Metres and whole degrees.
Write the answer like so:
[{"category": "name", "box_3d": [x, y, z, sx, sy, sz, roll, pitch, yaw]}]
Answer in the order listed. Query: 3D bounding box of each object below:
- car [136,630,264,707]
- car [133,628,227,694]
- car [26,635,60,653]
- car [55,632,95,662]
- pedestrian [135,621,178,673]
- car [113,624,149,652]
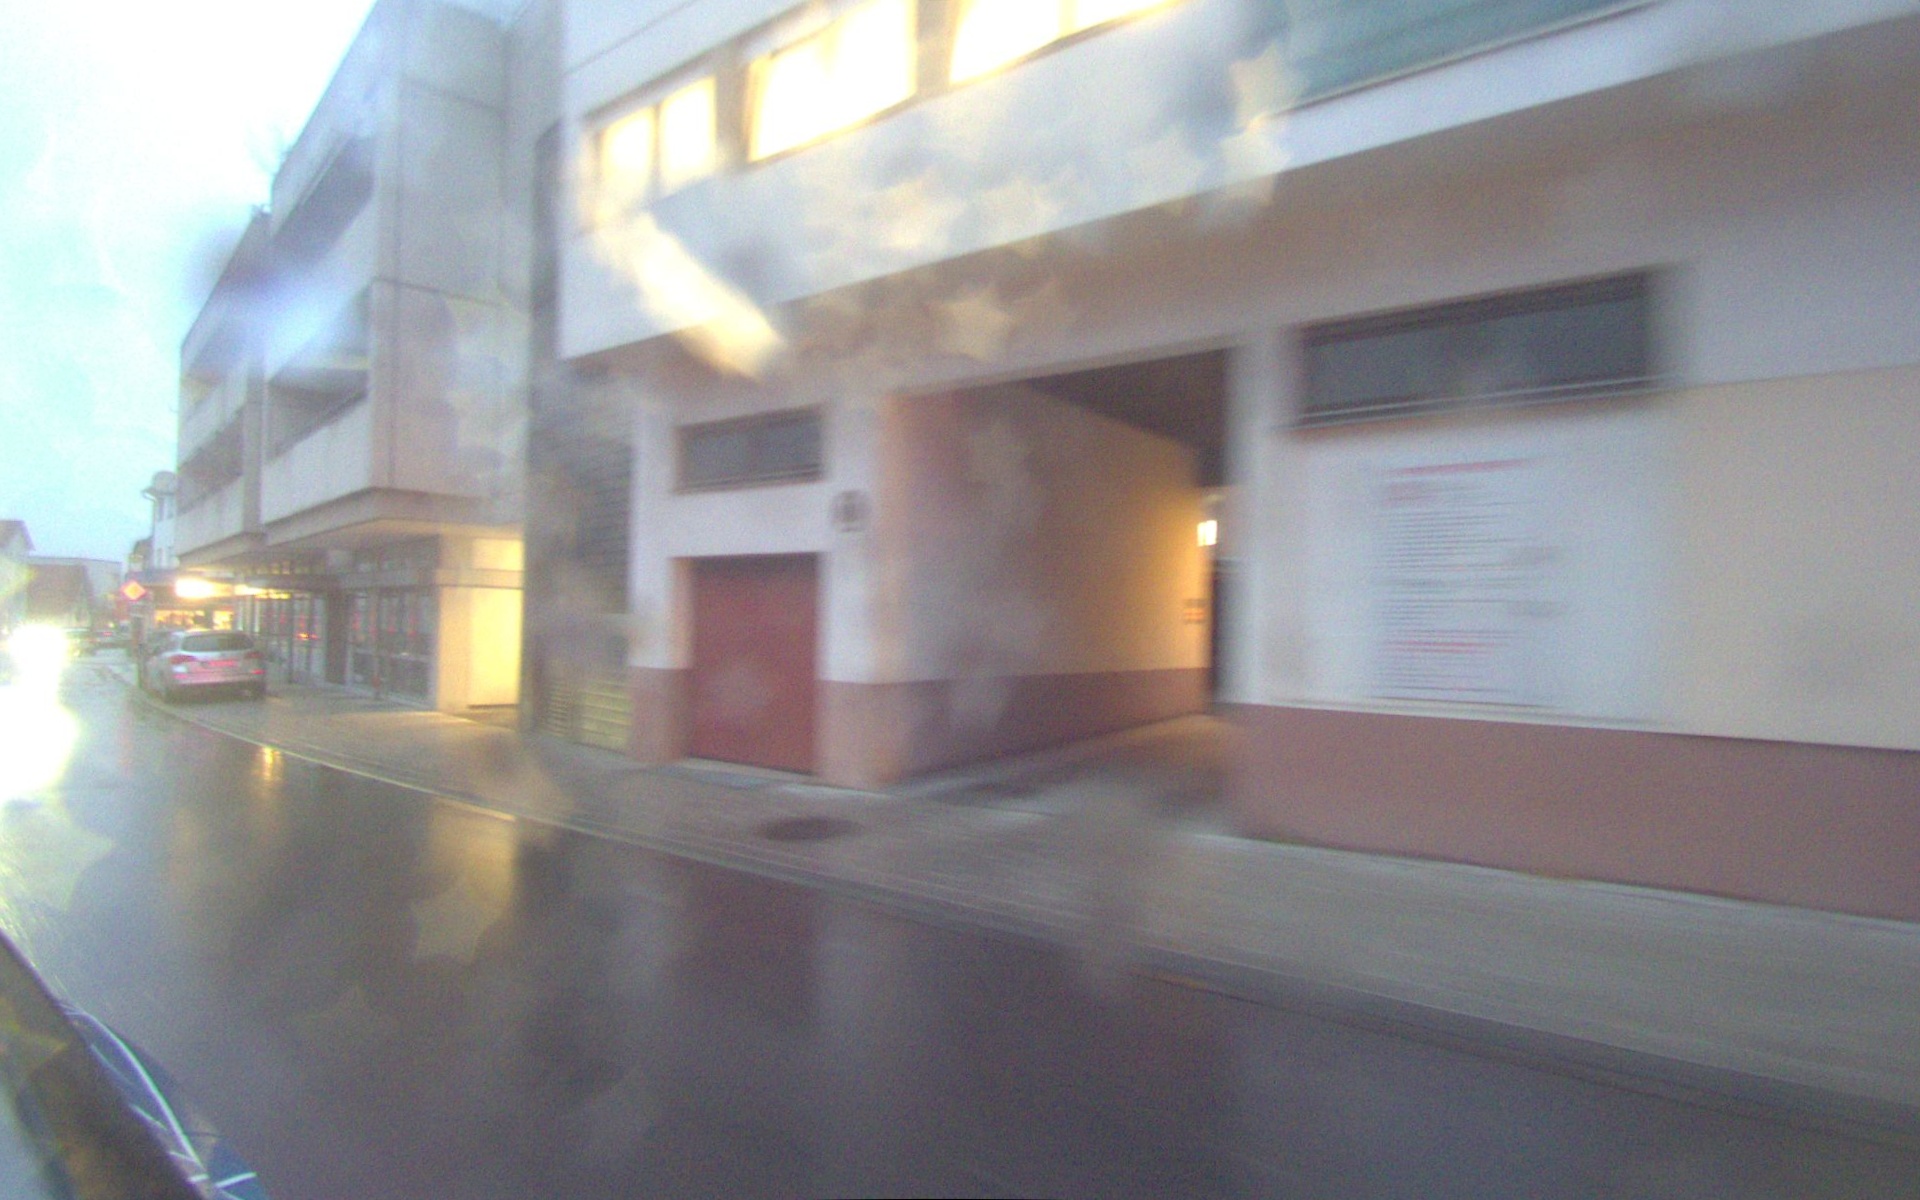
[{"category": "car", "box_3d": [-16.689, 1.422, 22.141, 1.656, 1.457, 4.431, -2, 0, -44]}, {"category": "car", "box_3d": [-20.251, 1.509, 26.229, 1.596, 1.544, 3.932, 0, -1, -43]}, {"category": "car", "box_3d": [-85.210, 4.087, 94.101, 1.770, 1.522, 4.010, 3, -4, -35]}, {"category": "car", "box_3d": [-51.595, 2.746, 58.976, 1.700, 1.626, 3.820, -1, -1, -42]}, {"category": "pedestrian", "box_3d": [-30.890, 1.813, 38.934, 1.182, 1.953, 0.979, 2, -3, -36]}, {"category": "car", "box_3d": [-84.184, 3.837, 102.833, 2.013, 2.680, 4.223, -1, -1, -27]}]
